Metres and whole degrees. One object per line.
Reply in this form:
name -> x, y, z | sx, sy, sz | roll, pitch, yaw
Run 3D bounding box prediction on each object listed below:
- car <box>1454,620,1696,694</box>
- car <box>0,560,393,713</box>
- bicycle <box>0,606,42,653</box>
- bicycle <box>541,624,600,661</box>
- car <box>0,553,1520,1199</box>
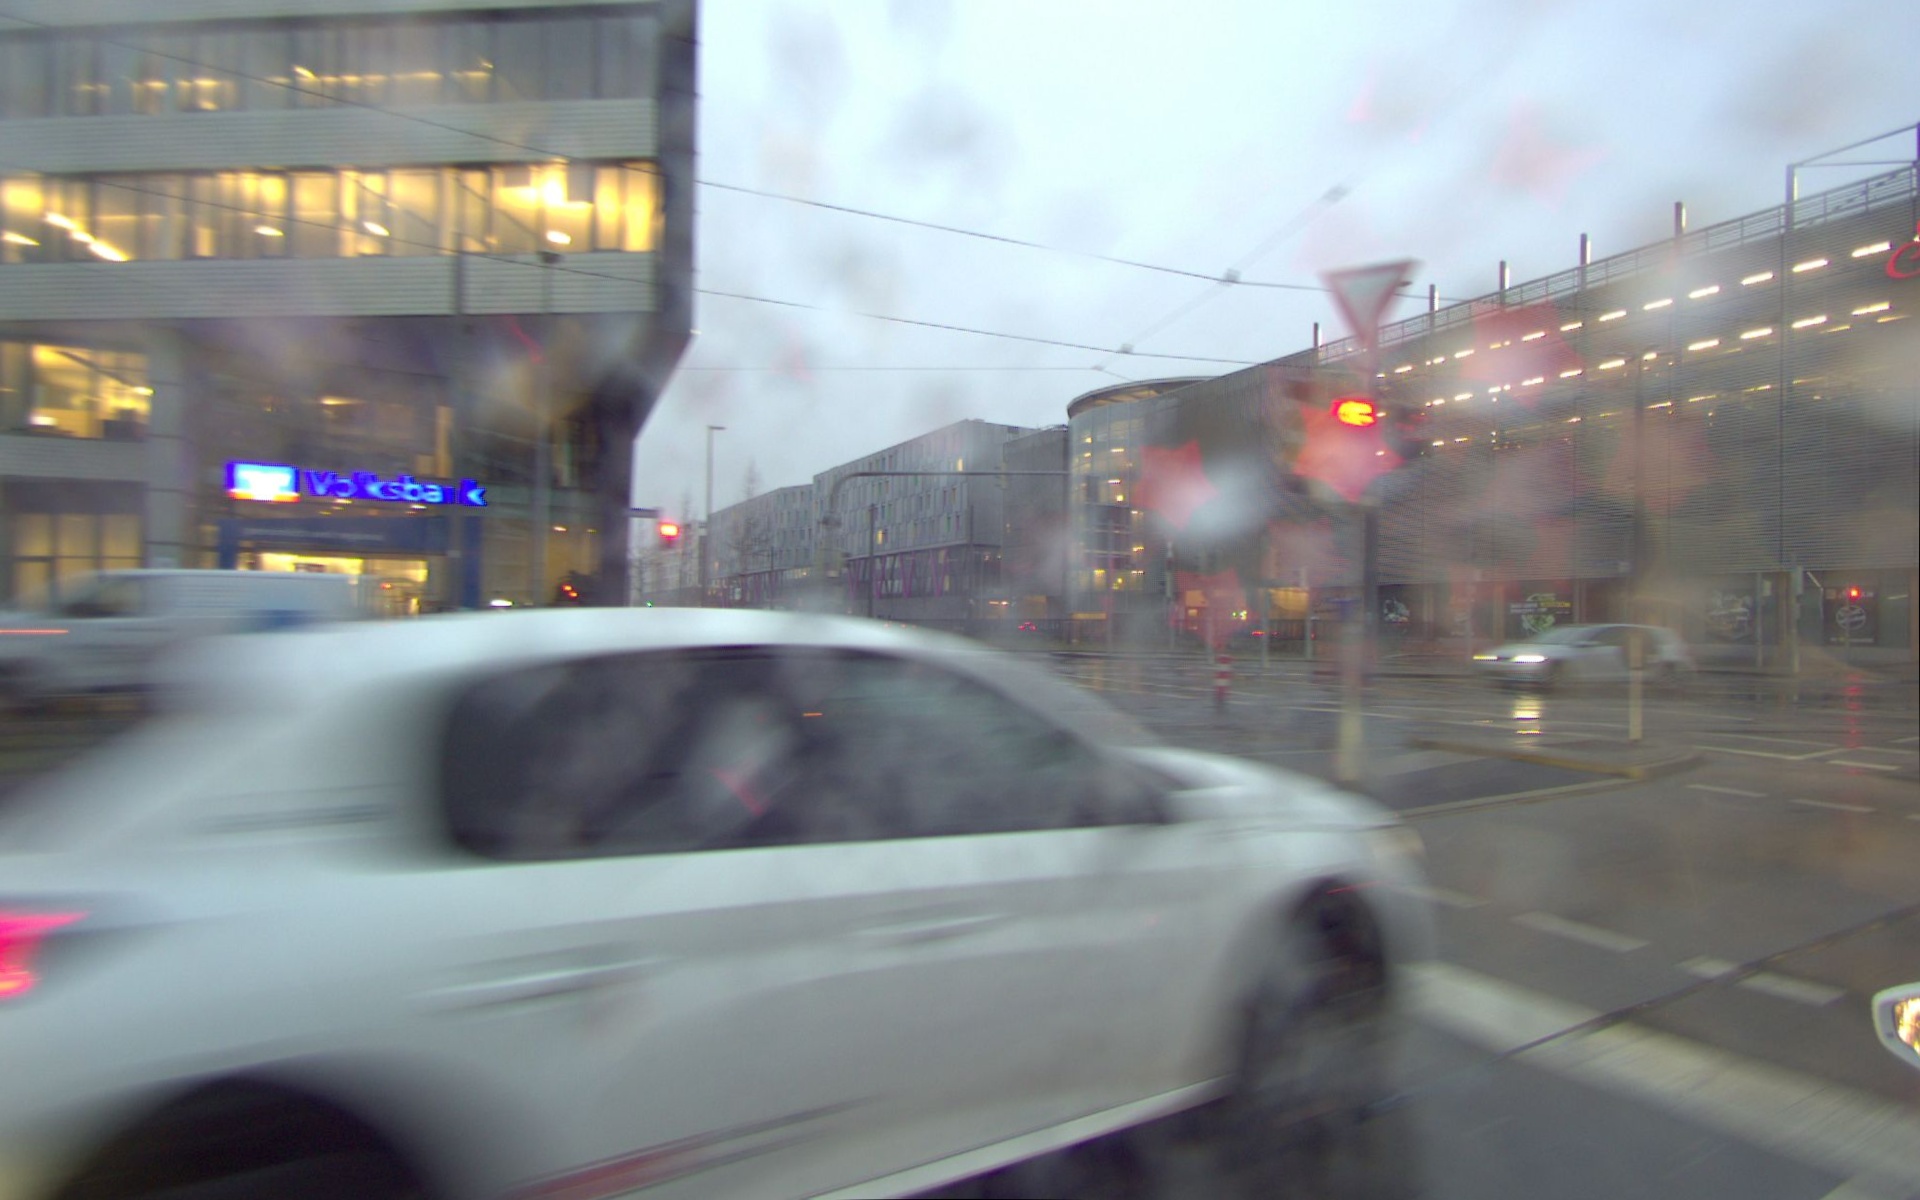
car -> 13.296, 1.211, 21.844 | 4.261, 1.505, 1.864 | 1, -1, -7
car -> -10.831, 0.508, 14.105 | 4.901, 1.896, 1.891 | 1, -1, -29
bicycle -> -23.965, 0.735, 25.095 | 0.518, 1.142, 1.499 | 1, -1, 10
bicycle -> -11.589, 1.252, 29.862 | 1.581, 1.084, 0.638 | 0, -1, -28
car -> -0.357, 0.724, 2.821 | 3.874, 1.483, 1.748 | 2, -1, -32
